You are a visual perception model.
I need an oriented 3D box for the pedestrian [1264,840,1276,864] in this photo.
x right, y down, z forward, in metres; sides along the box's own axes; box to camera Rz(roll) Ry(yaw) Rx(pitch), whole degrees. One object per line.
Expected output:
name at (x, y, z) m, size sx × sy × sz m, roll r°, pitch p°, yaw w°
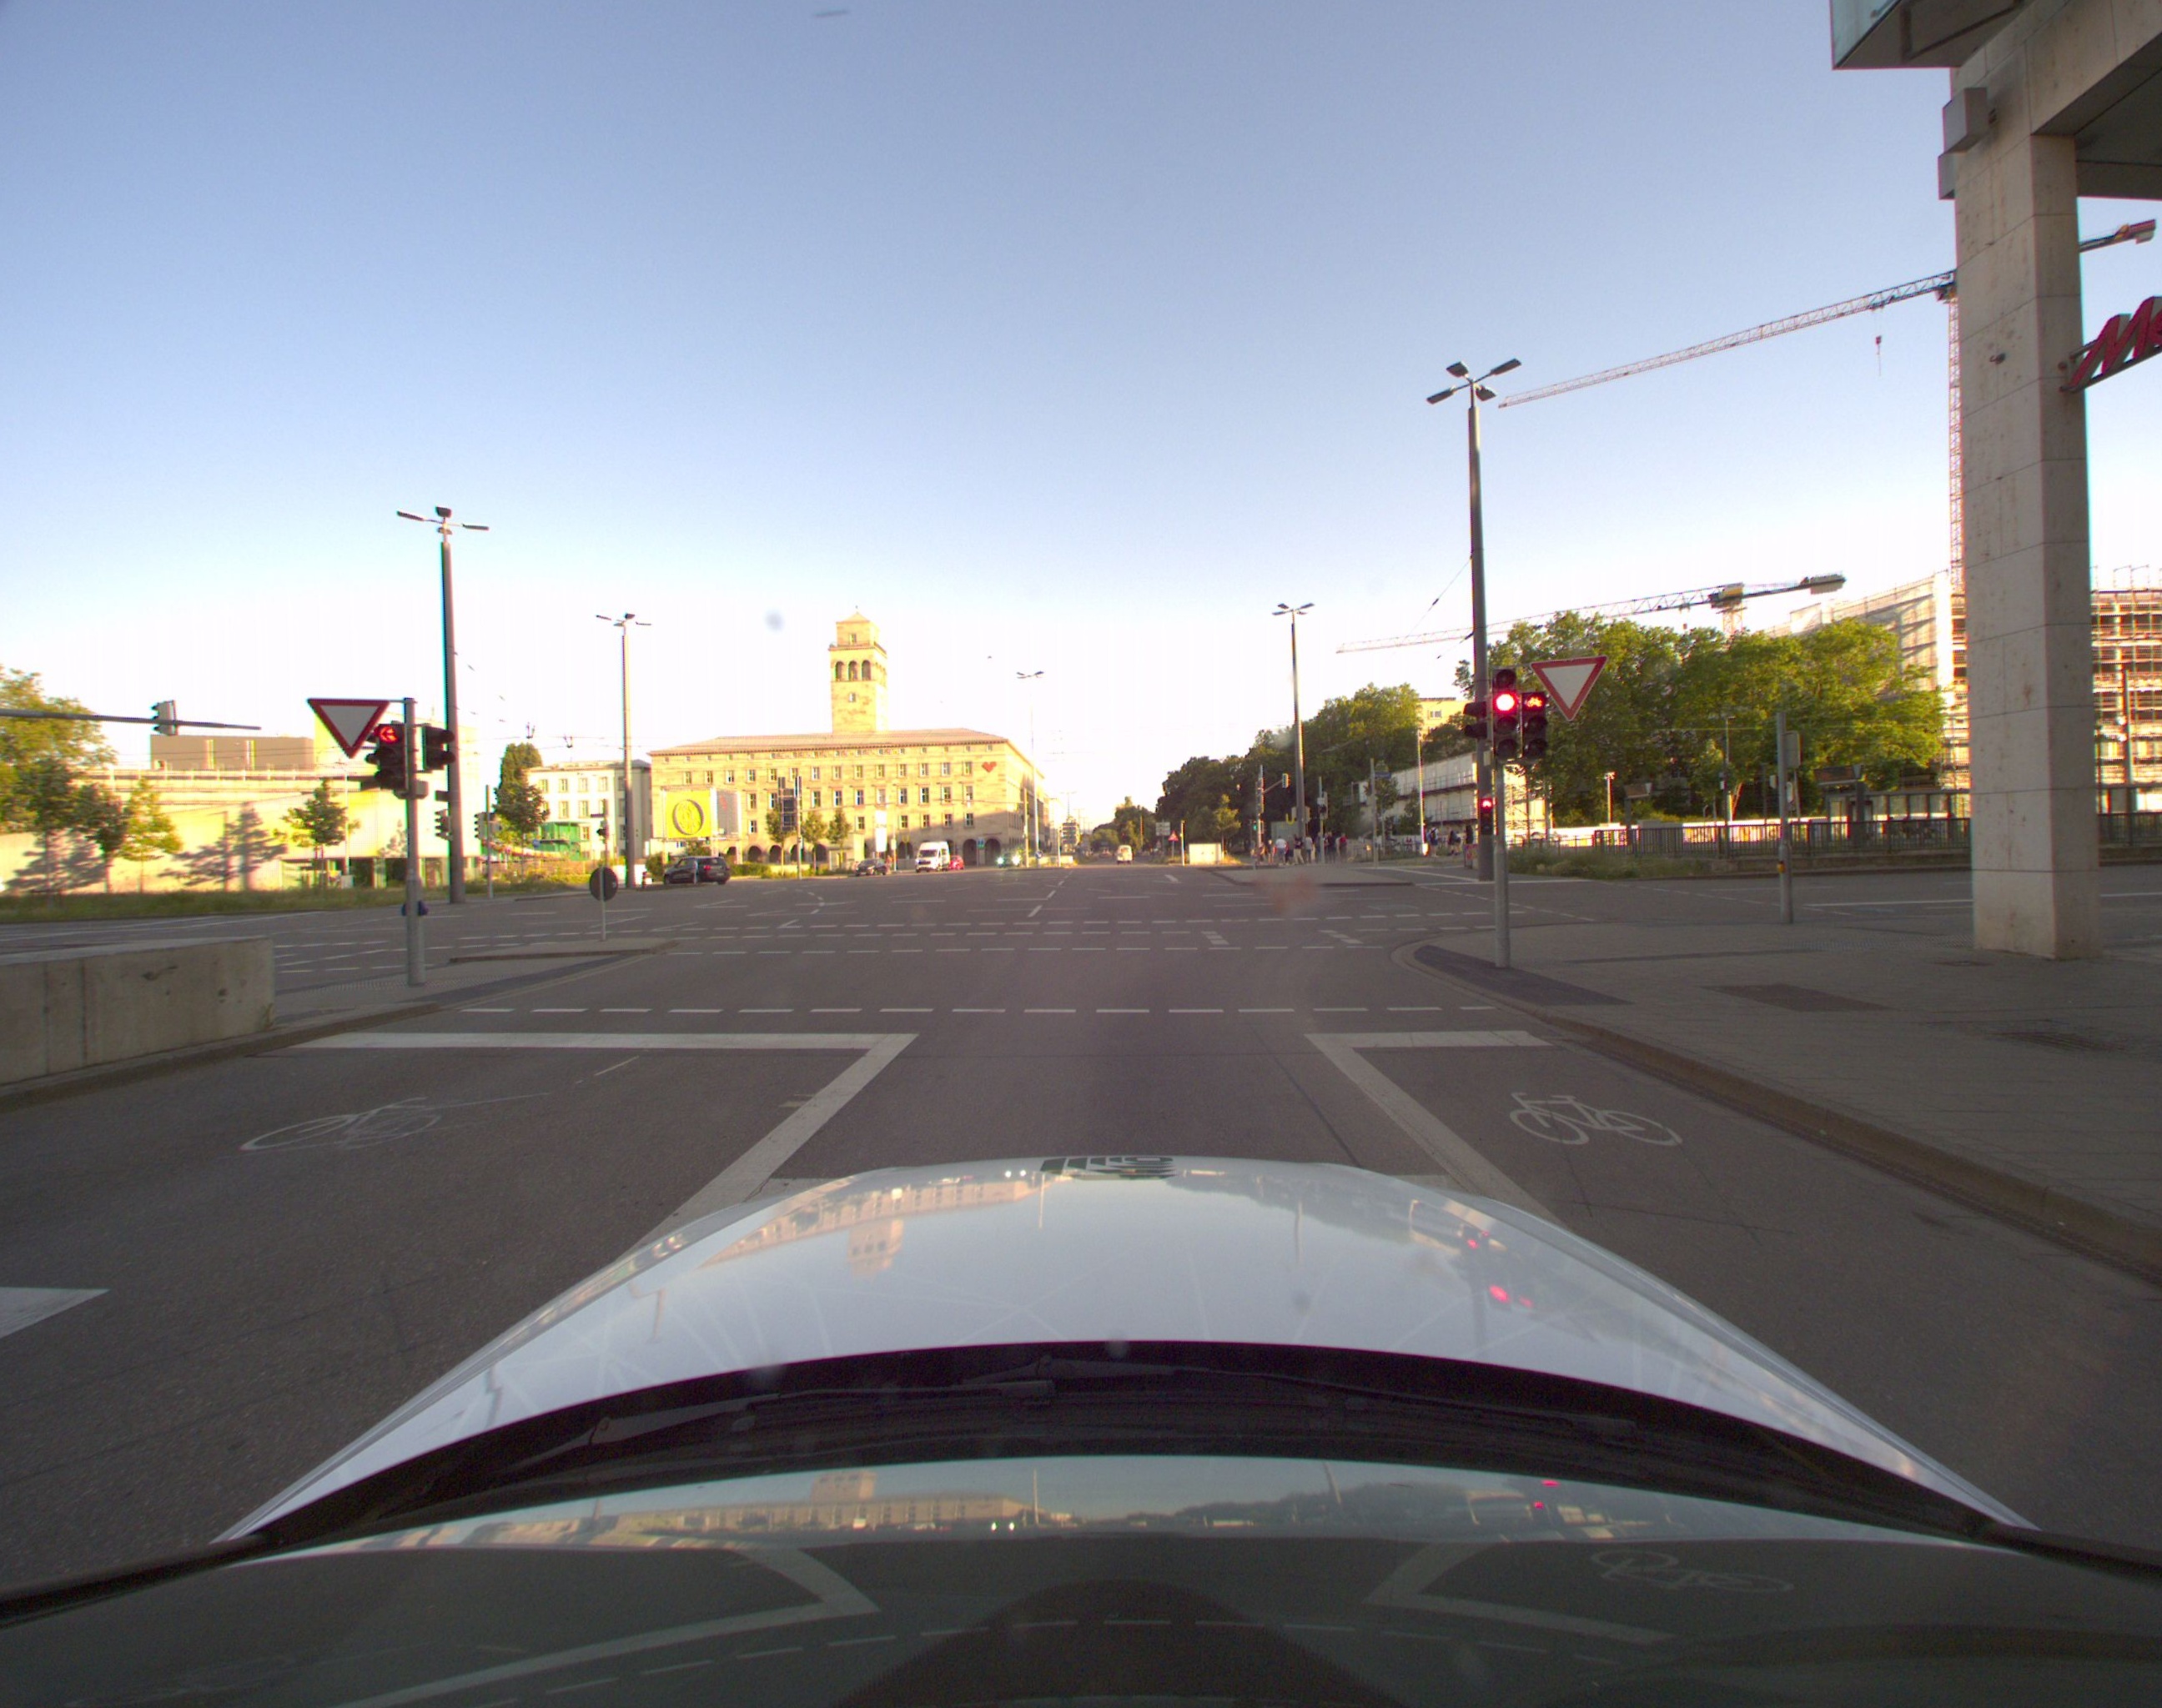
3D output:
pedestrian at (14.045, -0.160, 60.373) m, size 0.673 × 1.757 × 0.907 m, roll -2°, pitch 1°, yaw 22°

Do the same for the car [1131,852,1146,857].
car at (16.670, 0.181, 234.645) m, size 3.959 × 1.487 × 1.751 m, roll -2°, pitch 1°, yaw 13°

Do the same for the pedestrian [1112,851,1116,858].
pedestrian at (7.901, 0.089, 194.614) m, size 0.903 × 1.671 × 1.307 m, roll -2°, pitch 1°, yaw 1°

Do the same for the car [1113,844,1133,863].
car at (3.858, -0.059, 74.674) m, size 1.480 × 1.696 × 2.971 m, roll -2°, pitch 0°, yaw -3°

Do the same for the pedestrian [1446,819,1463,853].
pedestrian at (19.728, -0.941, 43.059) m, size 0.705 × 1.725 × 0.672 m, roll -2°, pitch 0°, yaw 19°

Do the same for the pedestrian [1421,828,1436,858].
pedestrian at (19.032, -0.612, 44.570) m, size 0.569 × 1.592 × 0.537 m, roll -2°, pitch 0°, yaw 1°

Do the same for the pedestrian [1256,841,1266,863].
pedestrian at (13.393, -0.152, 60.506) m, size 0.555 × 1.654 × 0.907 m, roll -2°, pitch 1°, yaw 22°

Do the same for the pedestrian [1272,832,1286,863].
pedestrian at (11.207, -0.383, 46.037) m, size 0.705 × 1.725 × 0.671 m, roll -2°, pitch 1°, yaw 16°

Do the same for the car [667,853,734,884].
car at (-21.436, 0.816, 45.801) m, size 4.081 × 1.604 × 1.756 m, roll -2°, pitch 0°, yaw 39°

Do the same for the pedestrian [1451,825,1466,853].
pedestrian at (20.246, -0.807, 43.684) m, size 0.670 × 1.441 × 0.718 m, roll -2°, pitch 0°, yaw 24°

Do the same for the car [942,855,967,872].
car at (-12.633, 0.914, 81.671) m, size 1.732 × 1.487 × 4.002 m, roll -2°, pitch 1°, yaw 2°

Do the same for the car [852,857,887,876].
car at (-18.341, 1.081, 70.820) m, size 1.817 × 1.466 × 4.158 m, roll -2°, pitch 1°, yaw 0°

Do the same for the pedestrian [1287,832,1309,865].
pedestrian at (11.508, -0.288, 43.176) m, size 0.919 × 1.725 × 0.705 m, roll -2°, pitch 1°, yaw -37°

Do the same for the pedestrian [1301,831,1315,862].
pedestrian at (12.954, -0.415, 46.414) m, size 0.705 × 1.725 × 0.919 m, roll -2°, pitch 1°, yaw 15°

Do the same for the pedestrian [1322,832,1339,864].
pedestrian at (13.912, -0.339, 45.438) m, size 0.799 × 1.791 × 0.804 m, roll -2°, pitch 1°, yaw 16°

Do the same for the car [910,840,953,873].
car at (-13.286, 0.215, 72.983) m, size 2.269 × 2.776 × 6.090 m, roll -2°, pitch 0°, yaw 4°

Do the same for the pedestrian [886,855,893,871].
pedestrian at (-21.022, 0.993, 89.415) m, size 0.620 × 1.744 × 0.459 m, roll 0°, pitch -1°, yaw -4°

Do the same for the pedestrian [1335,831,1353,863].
pedestrian at (14.794, -0.388, 45.821) m, size 0.838 × 1.734 × 0.708 m, roll -2°, pitch 1°, yaw 14°

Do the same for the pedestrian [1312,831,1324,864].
pedestrian at (13.228, -0.376, 45.508) m, size 0.568 × 1.791 × 0.641 m, roll -2°, pitch 1°, yaw 16°

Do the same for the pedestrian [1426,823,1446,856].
pedestrian at (18.893, -0.752, 43.342) m, size 0.716 × 1.725 × 0.661 m, roll -2°, pitch 0°, yaw -34°

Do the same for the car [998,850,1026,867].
car at (-6.167, 0.375, 72.961) m, size 1.815 × 1.341 × 4.005 m, roll -2°, pitch 1°, yaw 4°

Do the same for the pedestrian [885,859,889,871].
pedestrian at (-21.109, 1.158, 88.607) m, size 0.420 × 1.300 × 0.459 m, roll 0°, pitch -1°, yaw -3°

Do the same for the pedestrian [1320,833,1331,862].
pedestrian at (14.115, -0.385, 46.956) m, size 0.568 × 1.678 × 0.641 m, roll -2°, pitch 1°, yaw 16°

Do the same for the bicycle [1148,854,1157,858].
bicycle at (19.874, 0.567, 225.745) m, size 2.605 × 0.958 × 0.512 m, roll -2°, pitch 0°, yaw -14°

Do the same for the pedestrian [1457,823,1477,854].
pedestrian at (21.343, -0.856, 45.018) m, size 0.665 × 1.725 × 0.712 m, roll -2°, pitch 0°, yaw -4°

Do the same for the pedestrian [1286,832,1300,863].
pedestrian at (12.017, -0.388, 46.142) m, size 0.705 × 1.725 × 0.671 m, roll -2°, pitch 1°, yaw 15°
